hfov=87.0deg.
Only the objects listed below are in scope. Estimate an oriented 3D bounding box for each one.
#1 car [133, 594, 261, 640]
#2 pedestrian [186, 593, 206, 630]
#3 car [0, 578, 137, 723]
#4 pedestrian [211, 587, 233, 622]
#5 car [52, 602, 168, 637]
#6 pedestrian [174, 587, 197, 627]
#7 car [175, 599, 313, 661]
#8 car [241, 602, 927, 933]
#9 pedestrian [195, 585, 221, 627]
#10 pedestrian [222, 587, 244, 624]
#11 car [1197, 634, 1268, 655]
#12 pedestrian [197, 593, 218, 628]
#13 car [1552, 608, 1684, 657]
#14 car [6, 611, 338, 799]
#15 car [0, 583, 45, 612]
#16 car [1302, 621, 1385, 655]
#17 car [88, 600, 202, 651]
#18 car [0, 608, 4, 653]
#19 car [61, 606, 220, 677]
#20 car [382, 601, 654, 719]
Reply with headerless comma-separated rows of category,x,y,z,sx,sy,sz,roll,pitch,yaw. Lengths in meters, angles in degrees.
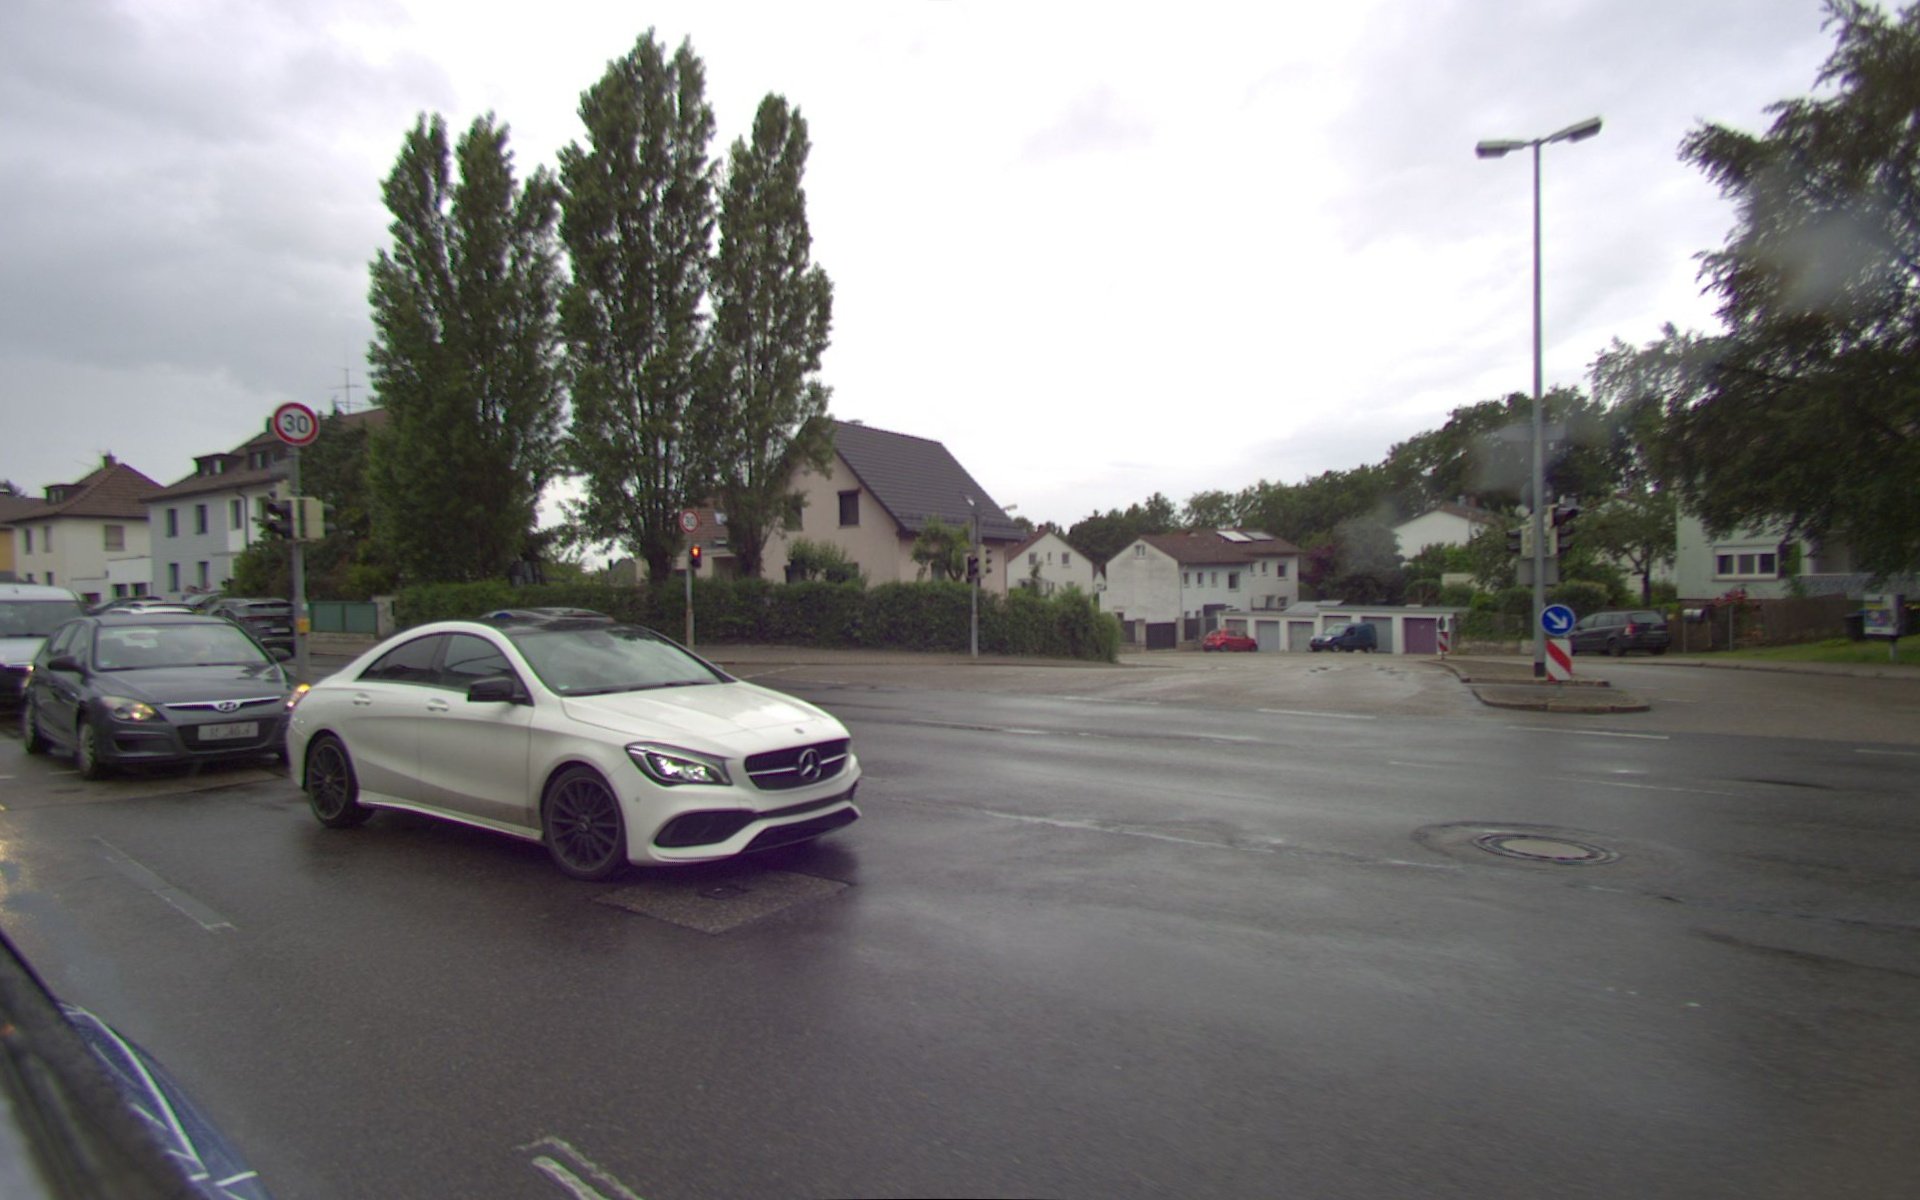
car,-33.207,0.715,44.138,1.867,1.576,3.956,-2,4,34
pedestrian,-37.350,0.562,49.489,0.643,1.800,0.649,-3,1,-33
car,-14.131,0.685,14.972,4.738,1.885,1.933,-1,-1,37
pedestrian,-36.120,0.202,49.538,0.574,1.682,0.578,-1,3,31
car,-41.502,0.909,49.485,1.879,1.430,3.956,-1,2,33
pedestrian,-36.262,0.326,47.389,0.539,1.802,0.662,0,3,37
car,-21.060,0.829,29.714,4.585,1.682,1.790,0,0,34
car,-2.657,0.792,6.763,4.636,1.540,1.894,0,0,32
pedestrian,-35.374,0.279,47.605,0.685,1.880,0.726,0,3,38
pedestrian,-34.145,0.250,47.545,0.664,1.682,0.693,-4,3,-27
car,17.381,2.803,64.507,4.022,1.298,1.914,0,-2,-23
pedestrian,-37.570,0.507,50.501,0.560,1.720,0.582,-1,3,31
car,24.360,1.211,37.675,1.910,1.717,4.199,0,-2,-4
car,-8.051,0.873,10.213,4.055,1.498,1.817,0,0,39
car,-55.383,-0.206,57.894,1.830,1.495,4.076,-1,-5,26
car,21.531,2.121,56.791,4.022,1.863,1.945,0,-2,-20
car,-26.927,0.795,33.398,4.131,1.580,1.790,0,0,34
car,-32.946,1.010,32.856,3.987,1.475,1.839,-1,0,32
car,-20.041,0.940,24.677,4.760,1.568,1.820,0,-1,36
car,-6.843,0.819,15.606,3.988,1.586,1.978,0,-1,33
